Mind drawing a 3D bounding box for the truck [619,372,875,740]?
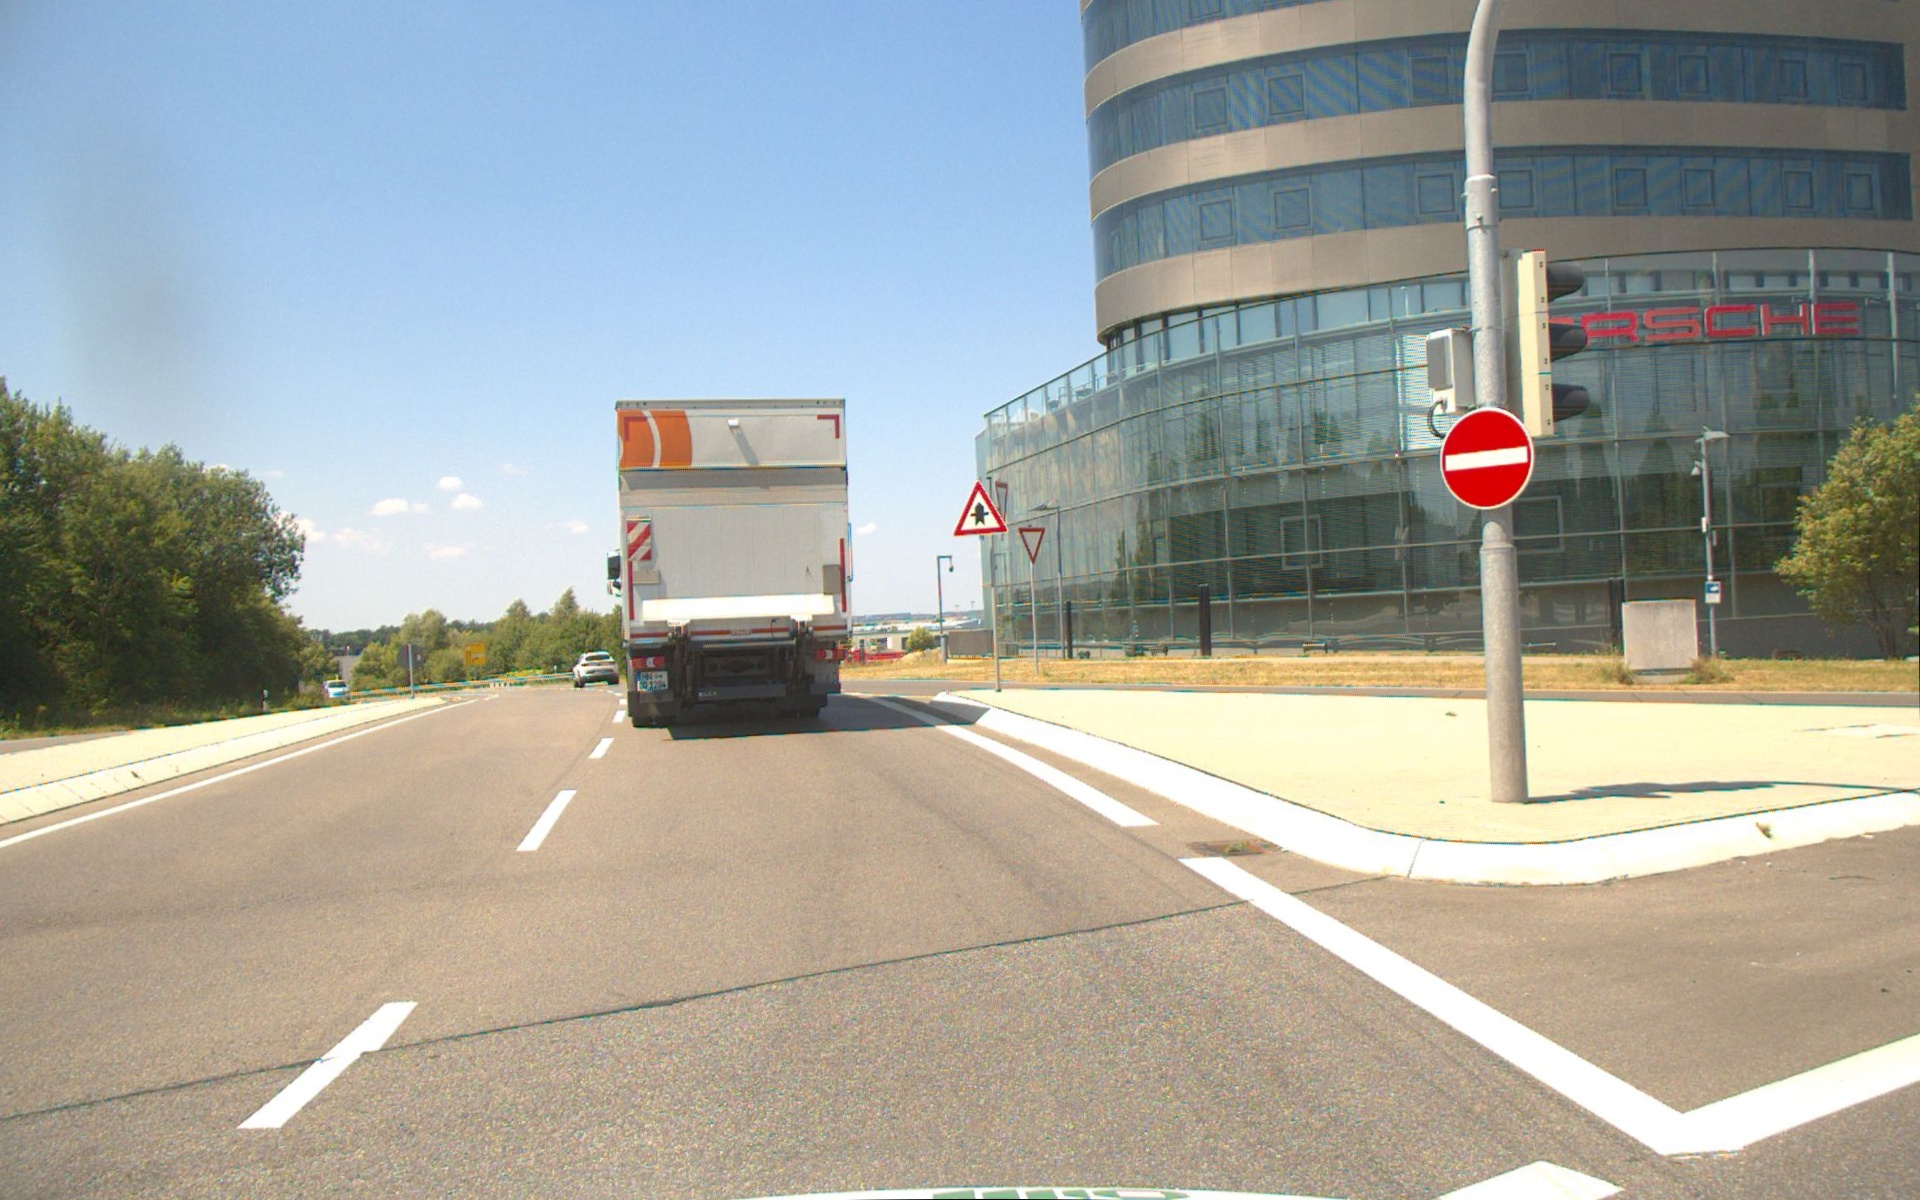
[{"bbox_3d":[-3.204,-0.470,22.490,2.720,3.927,9.343,-1,0,-11],"label":"truck"}]

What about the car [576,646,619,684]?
[{"bbox_3d":[-16.668,2.950,76.011,1.772,1.584,3.984,-1,0,-15],"label":"car"}]

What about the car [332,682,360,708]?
[{"bbox_3d":[-52.926,8.143,142.638,1.782,2.005,3.963,-1,0,-28],"label":"car"}]

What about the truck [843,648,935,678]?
[{"bbox_3d":[-8.036,7.185,187.595,10.141,3.276,2.459,-1,0,14],"label":"truck"}]
